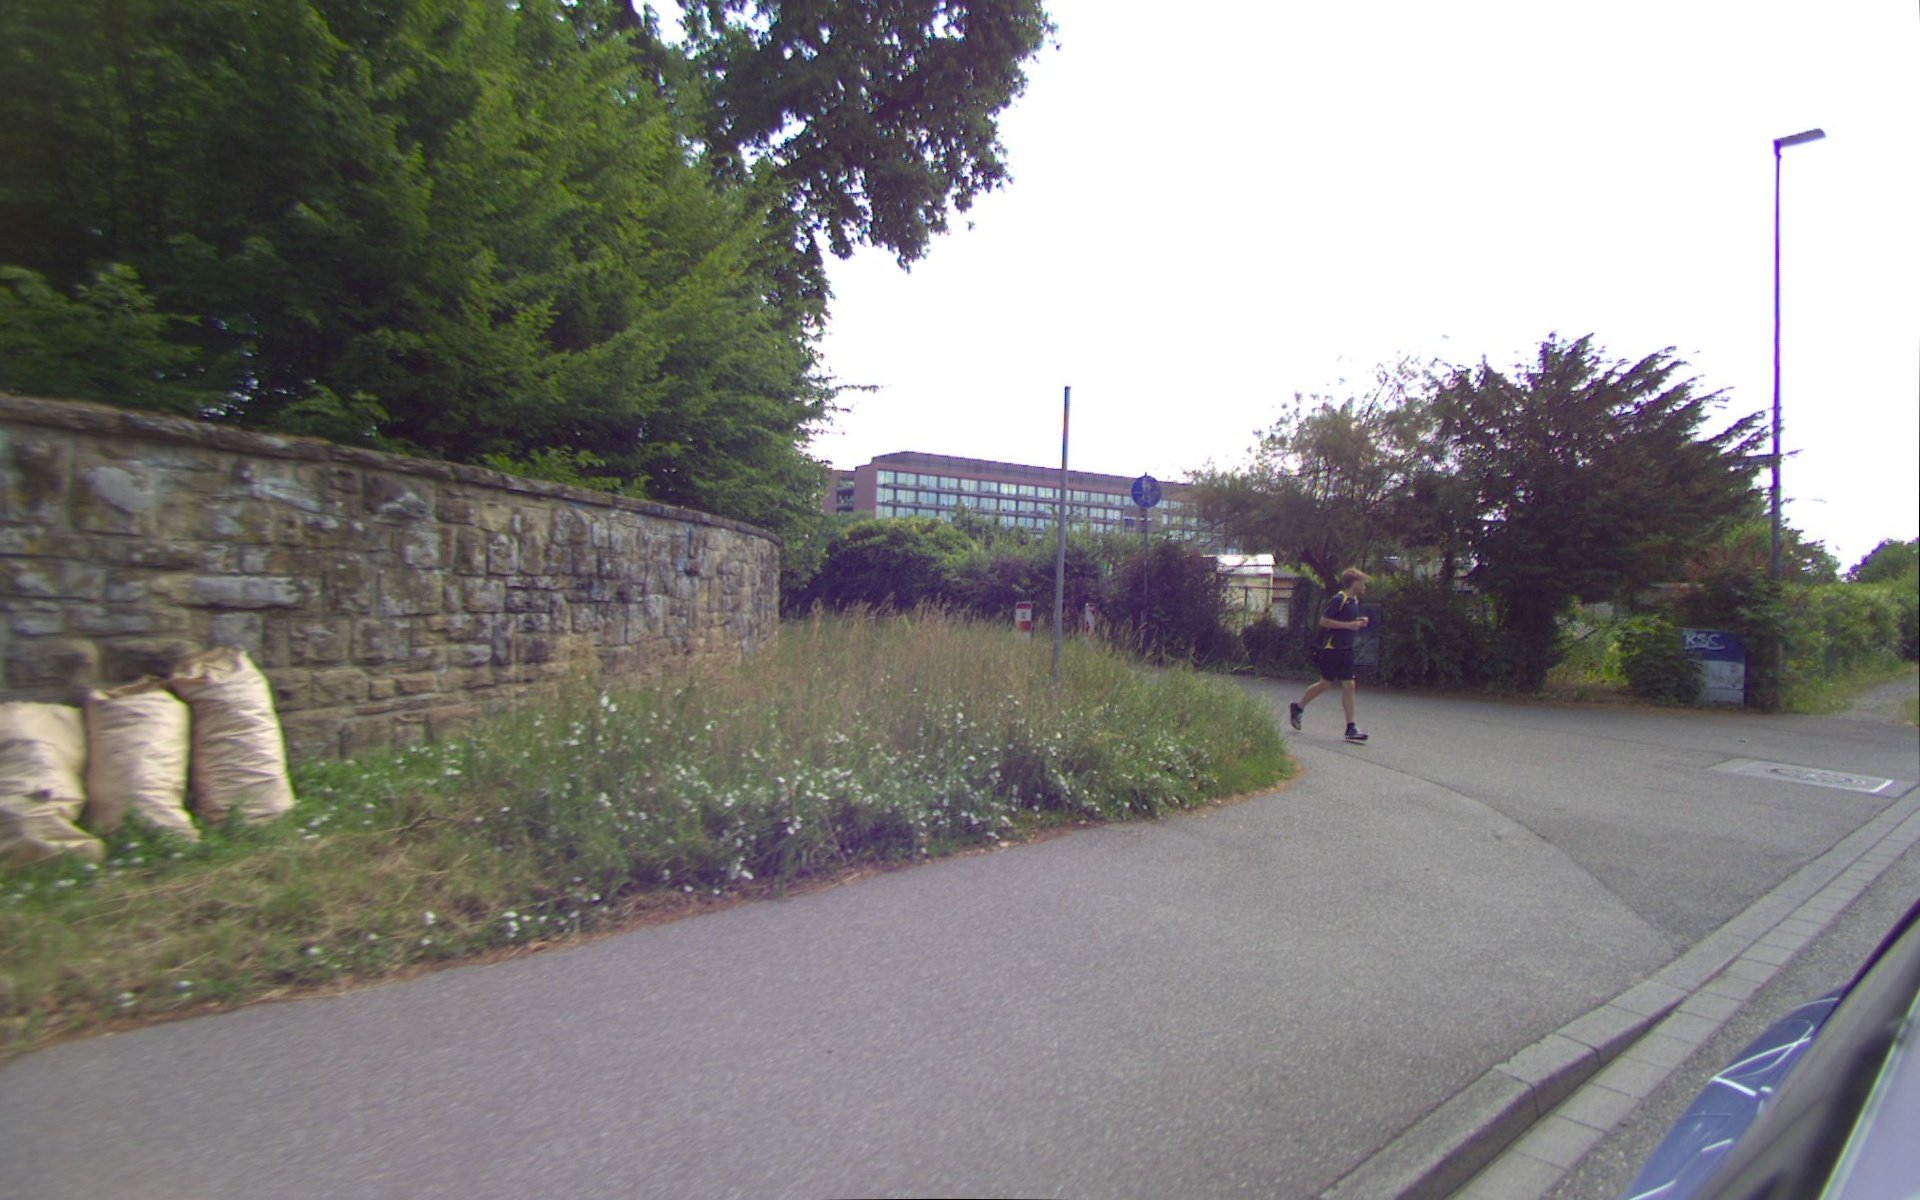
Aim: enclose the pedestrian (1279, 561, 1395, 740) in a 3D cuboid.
[{"bbox_3d":[3.683,0.467,9.936,0.612,1.671,0.835,1,1,-23],"label":"pedestrian"}]
